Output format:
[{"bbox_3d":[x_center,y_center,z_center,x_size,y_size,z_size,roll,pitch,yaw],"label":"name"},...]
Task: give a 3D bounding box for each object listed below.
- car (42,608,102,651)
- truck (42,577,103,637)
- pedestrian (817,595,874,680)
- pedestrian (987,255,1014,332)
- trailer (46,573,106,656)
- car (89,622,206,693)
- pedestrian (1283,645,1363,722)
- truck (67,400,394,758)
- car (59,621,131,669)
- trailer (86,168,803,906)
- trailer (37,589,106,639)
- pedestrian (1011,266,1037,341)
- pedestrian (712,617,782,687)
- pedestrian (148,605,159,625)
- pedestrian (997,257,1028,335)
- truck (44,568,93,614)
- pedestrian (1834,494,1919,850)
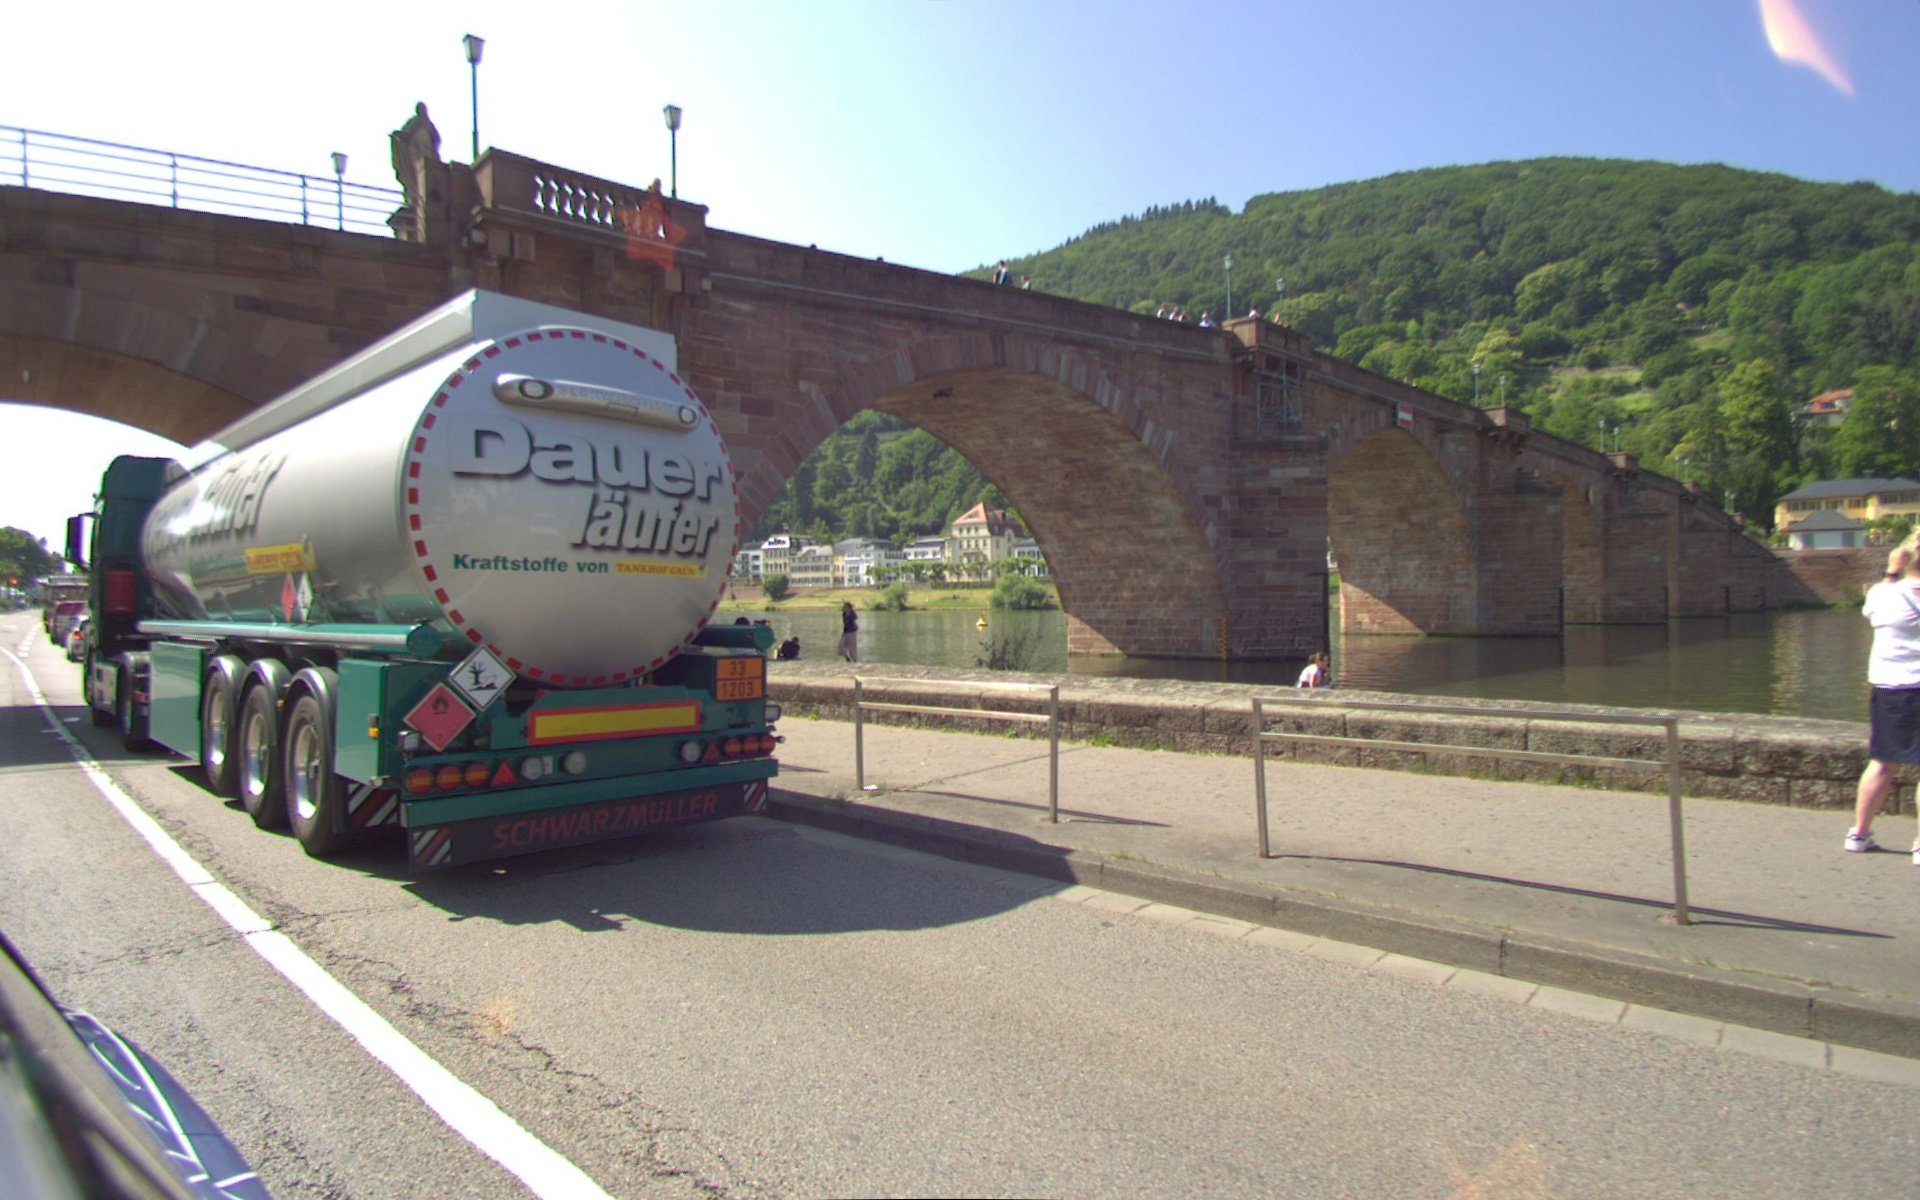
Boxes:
[{"bbox_3d":[-40.251,1.292,45.845,1.852,1.841,4.548,2,-1,-43],"label":"car"},{"bbox_3d":[-54.594,0.405,62.279,2.609,3.483,7.882,2,-1,-41],"label":"truck"},{"bbox_3d":[-2.318,0.750,20.513,0.773,1.663,0.780,-2,-1,41],"label":"pedestrian"},{"bbox_3d":[1.172,-8.905,29.446,0.638,2.029,0.462,0,0,39],"label":"pedestrian"},{"bbox_3d":[-37.085,0.611,42.432,1.721,3.345,3.387,2,-1,-43],"label":"trailer"},{"bbox_3d":[-18.894,1.254,23.470,1.703,1.447,4.403,2,-2,-44],"label":"car"},{"bbox_3d":[5.738,1.294,15.998,0.954,1.139,0.831,0,-1,-42],"label":"pedestrian"},{"bbox_3d":[-10.109,-0.125,13.754,6.247,3.777,2.495,-2,-3,44],"label":"truck"},{"bbox_3d":[-28.192,1.426,32.957,1.517,1.447,3.731,2,-1,-44],"label":"car"},{"bbox_3d":[-6.102,-0.209,9.904,11.531,3.672,2.496,-1,-2,43],"label":"trailer"},{"bbox_3d":[-48.925,0.736,55.765,2.664,2.550,6.957,2,0,-41],"label":"trailer"},{"bbox_3d":[1.935,-8.899,30.459,0.638,2.029,0.462,0,0,39],"label":"pedestrian"},{"bbox_3d":[-3.967,0.951,18.831,1.025,1.239,0.780,-2,-1,41],"label":"pedestrian"},{"bbox_3d":[-69.422,1.298,87.094,0.703,1.719,0.847,-2,-1,-39],"label":"pedestrian"},{"bbox_3d":[1.558,-8.992,29.952,0.625,2.029,0.686,0,0,39],"label":"pedestrian"},{"bbox_3d":[-71.401,-0.694,81.186,2.609,3.502,11.126,0,0,-40],"label":"truck"},{"bbox_3d":[5.132,0.360,5.164,0.535,1.806,0.824,-1,0,-21],"label":"pedestrian"}]
